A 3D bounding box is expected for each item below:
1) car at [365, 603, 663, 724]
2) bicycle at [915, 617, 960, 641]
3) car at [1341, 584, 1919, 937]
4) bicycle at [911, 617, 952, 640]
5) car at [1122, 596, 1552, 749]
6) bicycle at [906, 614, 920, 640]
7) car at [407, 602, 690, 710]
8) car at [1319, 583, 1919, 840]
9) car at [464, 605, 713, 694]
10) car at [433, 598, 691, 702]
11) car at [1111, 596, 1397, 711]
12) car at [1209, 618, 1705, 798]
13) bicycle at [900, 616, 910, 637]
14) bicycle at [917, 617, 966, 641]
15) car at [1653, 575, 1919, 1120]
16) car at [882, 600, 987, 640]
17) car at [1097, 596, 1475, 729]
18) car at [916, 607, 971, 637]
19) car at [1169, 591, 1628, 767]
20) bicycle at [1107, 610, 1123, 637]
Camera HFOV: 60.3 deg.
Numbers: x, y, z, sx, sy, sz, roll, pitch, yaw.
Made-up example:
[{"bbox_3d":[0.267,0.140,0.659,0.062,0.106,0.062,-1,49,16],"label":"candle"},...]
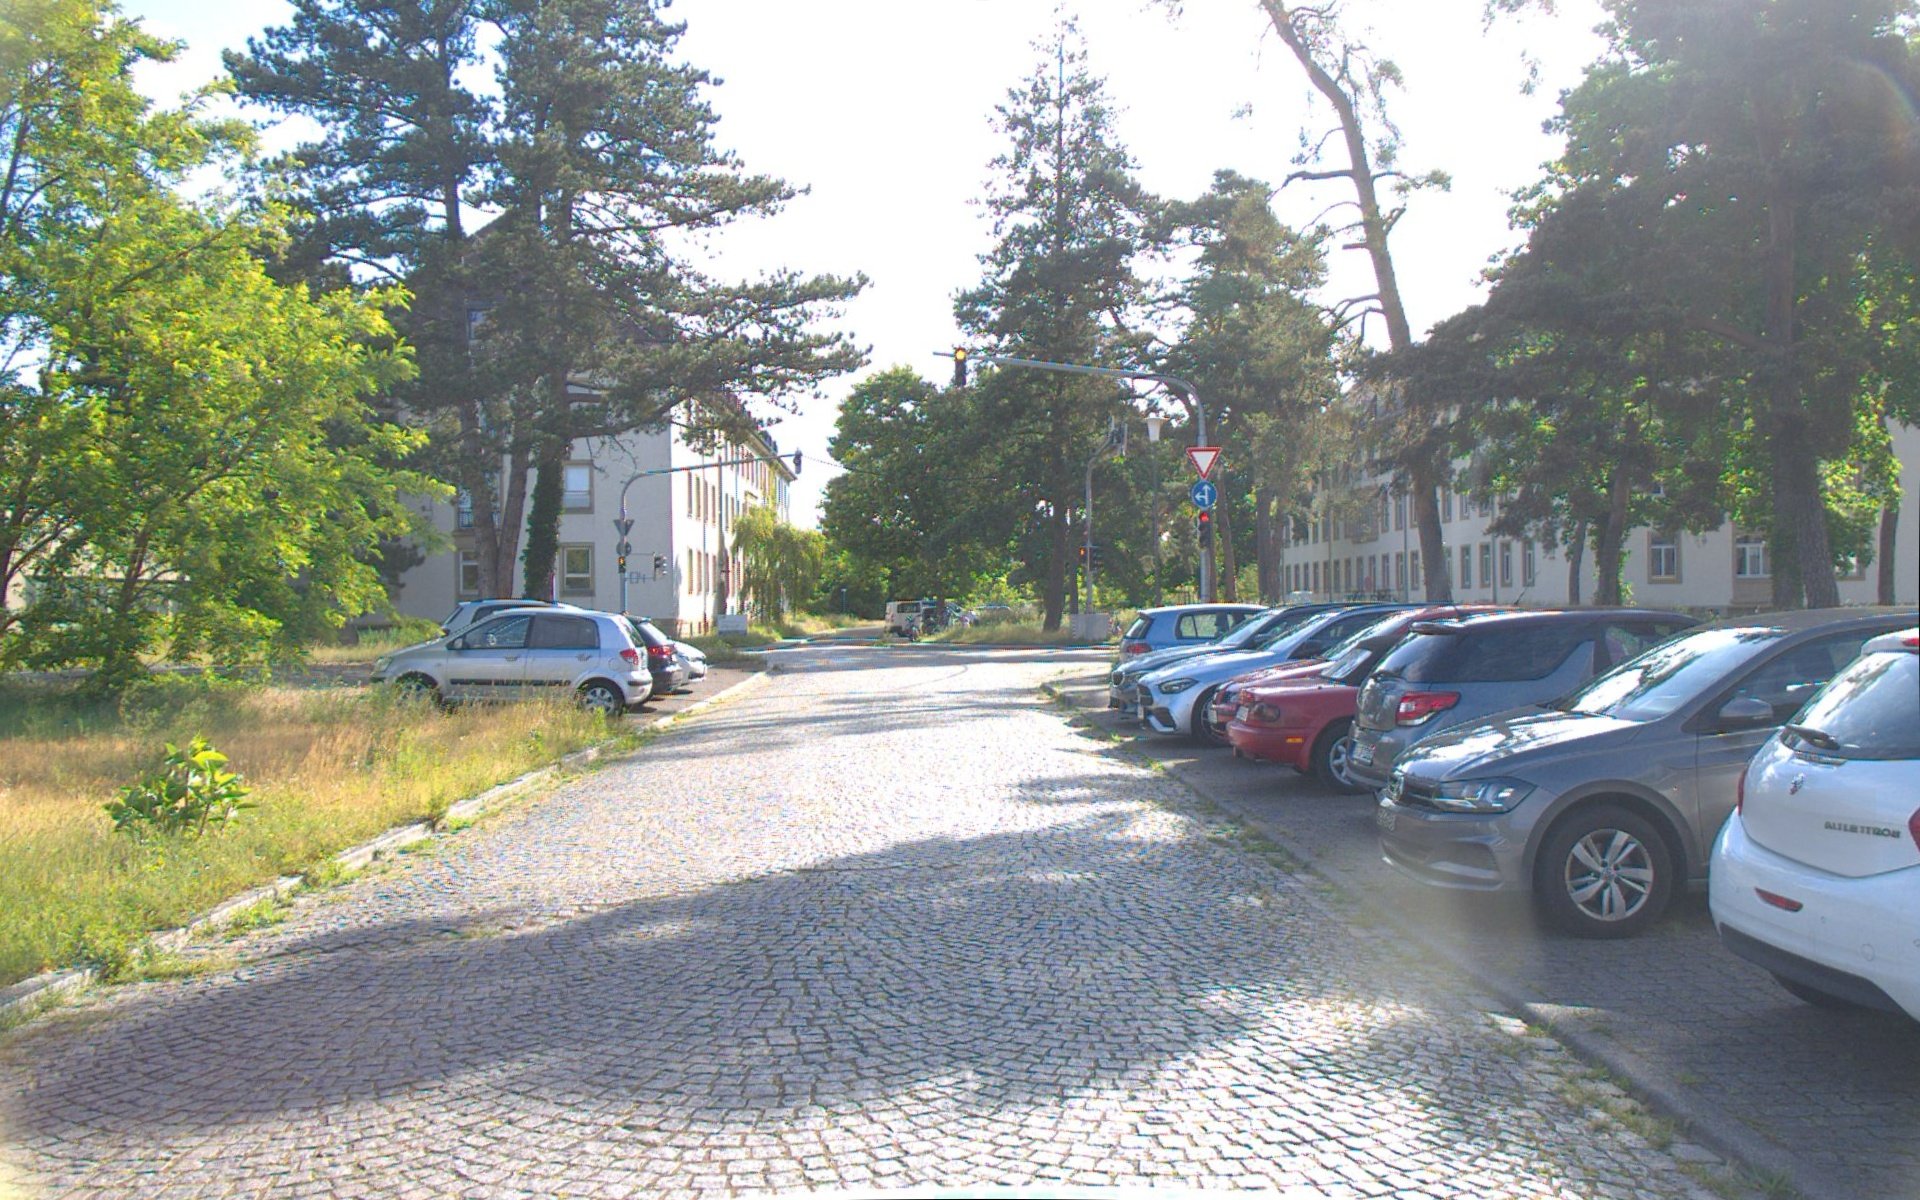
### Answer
[{"bbox_3d":[-6.041,0.847,22.745,3.673,1.513,1.644,1,0,-5],"label":"car"},{"bbox_3d":[-1.008,1.291,74.410,1.968,1.028,0.630,1,-1,-9],"label":"bicycle"},{"bbox_3d":[4.010,0.713,8.475,3.632,1.474,1.856,-2,0,-1],"label":"car"},{"bbox_3d":[-1.306,1.313,76.157,1.804,1.028,0.634,1,-1,-9],"label":"bicycle"},{"bbox_3d":[4.107,0.766,18.488,4.342,1.440,1.780,-2,0,-1],"label":"car"},{"bbox_3d":[-1.964,1.125,69.107,0.458,1.028,1.584,1,-1,-5],"label":"bicycle"},{"bbox_3d":[-6.210,0.838,25.338,3.909,1.506,1.801,1,0,-5],"label":"car"},{"bbox_3d":[4.522,0.701,11.417,3.632,1.474,1.816,-2,0,-2],"label":"car"},{"bbox_3d":[-6.811,0.899,30.665,4.248,1.494,1.829,1,0,-5],"label":"car"},{"bbox_3d":[-6.719,0.829,28.283,4.000,1.621,1.883,1,0,-5],"label":"car"},{"bbox_3d":[4.200,0.746,23.988,3.804,1.440,1.636,-2,0,-1],"label":"car"},{"bbox_3d":[4.082,0.861,14.004,3.632,1.244,1.746,-2,0,-1],"label":"car"},{"bbox_3d":[-2.735,1.342,82.298,0.409,1.028,1.483,1,-1,-1],"label":"bicycle"},{"bbox_3d":[-0.795,1.268,72.704,2.070,1.028,0.619,1,-1,-9],"label":"bicycle"},{"bbox_3d":[4.566,0.652,5.627,3.632,1.561,1.760,-2,0,-1],"label":"car"},{"bbox_3d":[-1.387,1.113,90.803,5.439,2.049,1.988,2,-1,-20],"label":"car"},{"bbox_3d":[4.091,0.765,21.204,4.467,1.440,1.636,-2,0,-1],"label":"car"},{"bbox_3d":[-0.892,1.146,87.180,2.728,1.492,1.669,1,-1,-6],"label":"car"},{"bbox_3d":[4.211,0.734,16.292,4.044,1.474,1.636,-2,0,-1],"label":"car"},{"bbox_3d":[5.684,0.850,60.815,0.295,0.977,1.584,1,-1,-5],"label":"bicycle"}]
